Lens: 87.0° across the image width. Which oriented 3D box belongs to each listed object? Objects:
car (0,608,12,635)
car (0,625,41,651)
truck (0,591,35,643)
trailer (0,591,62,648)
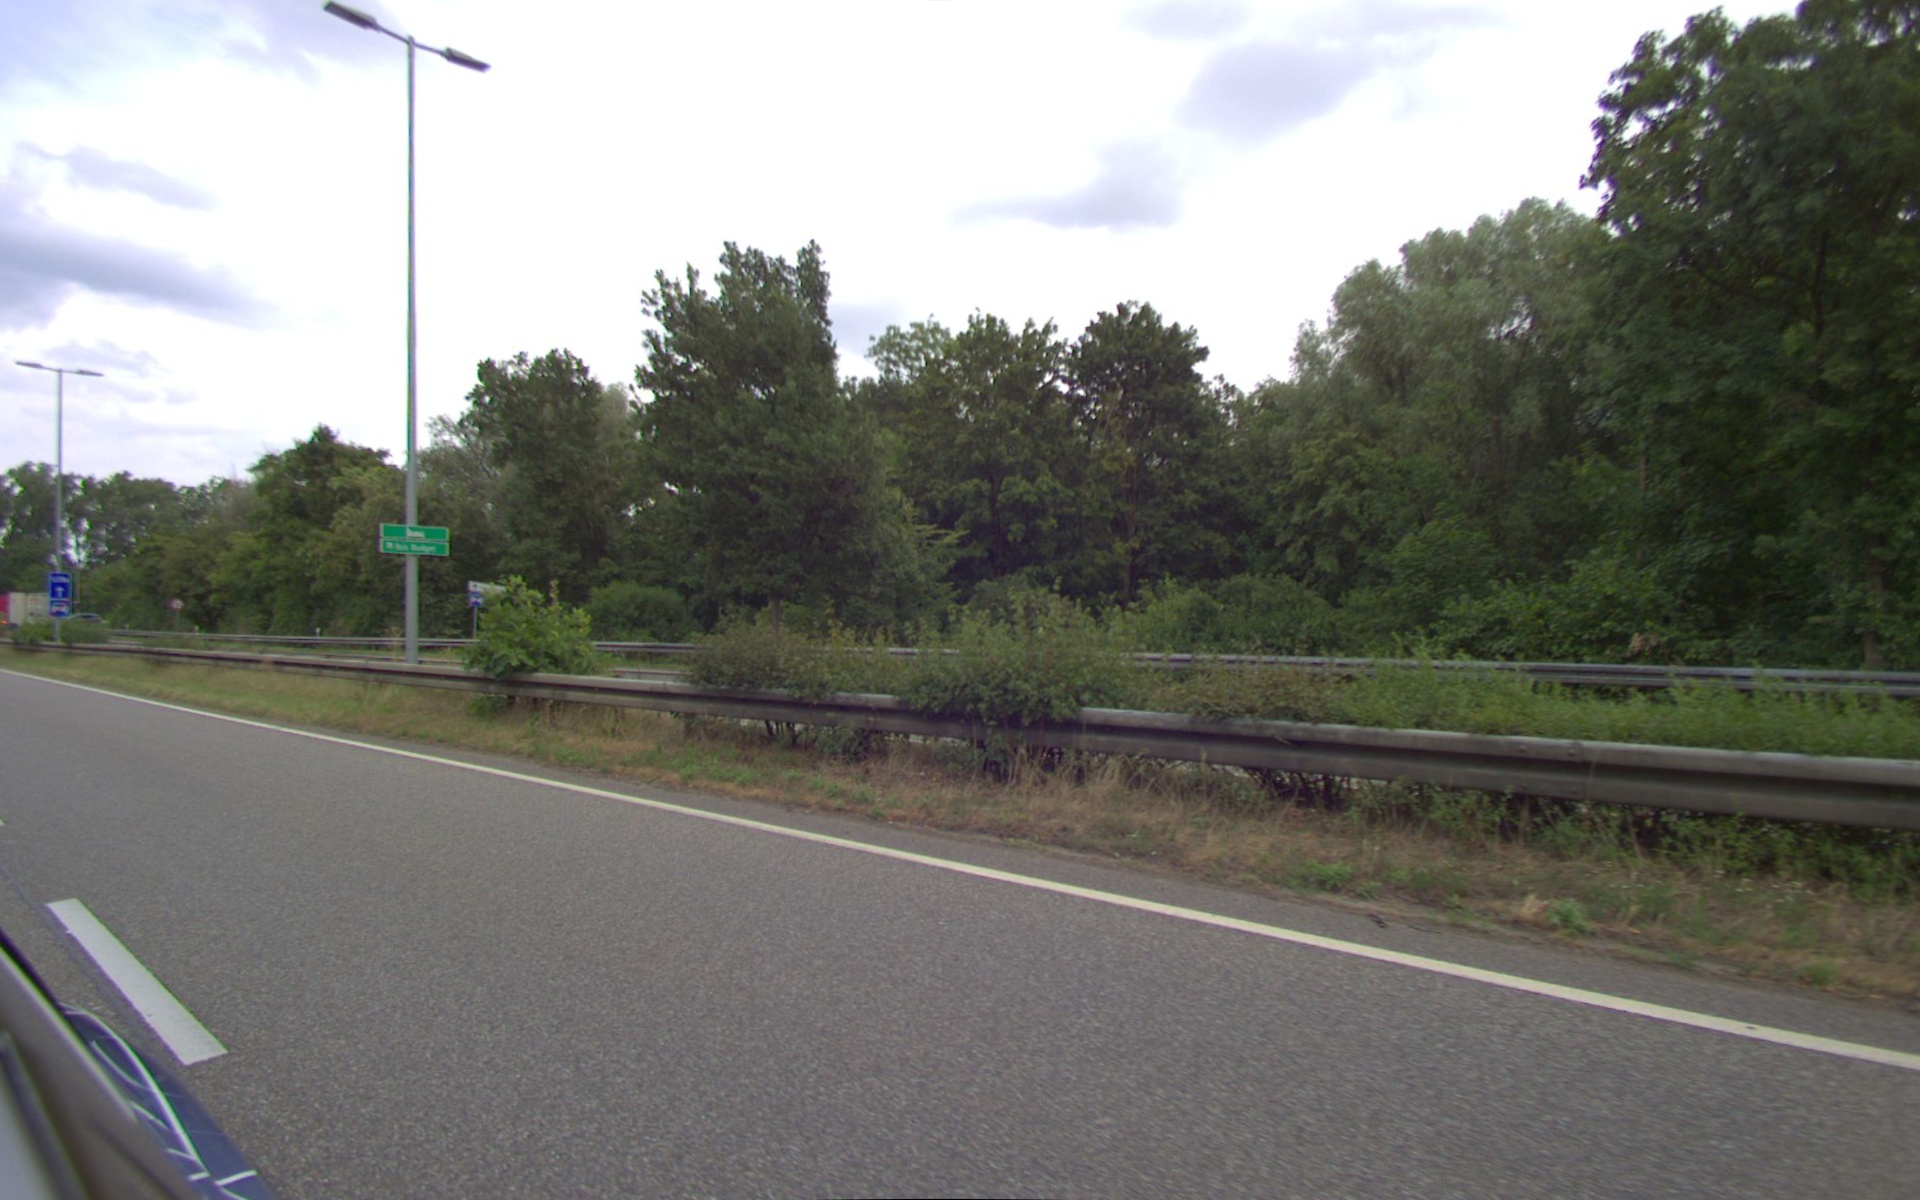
[{"bbox_3d":[-70.035,1.502,72.706,5.270,1.877,1.991,0,0,37],"label":"car"},{"bbox_3d":[-61.745,2.468,66.250,3.935,1.517,1.750,0,0,39],"label":"car"},{"bbox_3d":[-77.585,1.377,82.324,5.614,4.114,2.544,0,0,37],"label":"truck"},{"bbox_3d":[-72.764,1.458,78.625,10.754,4.178,2.511,0,0,37],"label":"trailer"}]
